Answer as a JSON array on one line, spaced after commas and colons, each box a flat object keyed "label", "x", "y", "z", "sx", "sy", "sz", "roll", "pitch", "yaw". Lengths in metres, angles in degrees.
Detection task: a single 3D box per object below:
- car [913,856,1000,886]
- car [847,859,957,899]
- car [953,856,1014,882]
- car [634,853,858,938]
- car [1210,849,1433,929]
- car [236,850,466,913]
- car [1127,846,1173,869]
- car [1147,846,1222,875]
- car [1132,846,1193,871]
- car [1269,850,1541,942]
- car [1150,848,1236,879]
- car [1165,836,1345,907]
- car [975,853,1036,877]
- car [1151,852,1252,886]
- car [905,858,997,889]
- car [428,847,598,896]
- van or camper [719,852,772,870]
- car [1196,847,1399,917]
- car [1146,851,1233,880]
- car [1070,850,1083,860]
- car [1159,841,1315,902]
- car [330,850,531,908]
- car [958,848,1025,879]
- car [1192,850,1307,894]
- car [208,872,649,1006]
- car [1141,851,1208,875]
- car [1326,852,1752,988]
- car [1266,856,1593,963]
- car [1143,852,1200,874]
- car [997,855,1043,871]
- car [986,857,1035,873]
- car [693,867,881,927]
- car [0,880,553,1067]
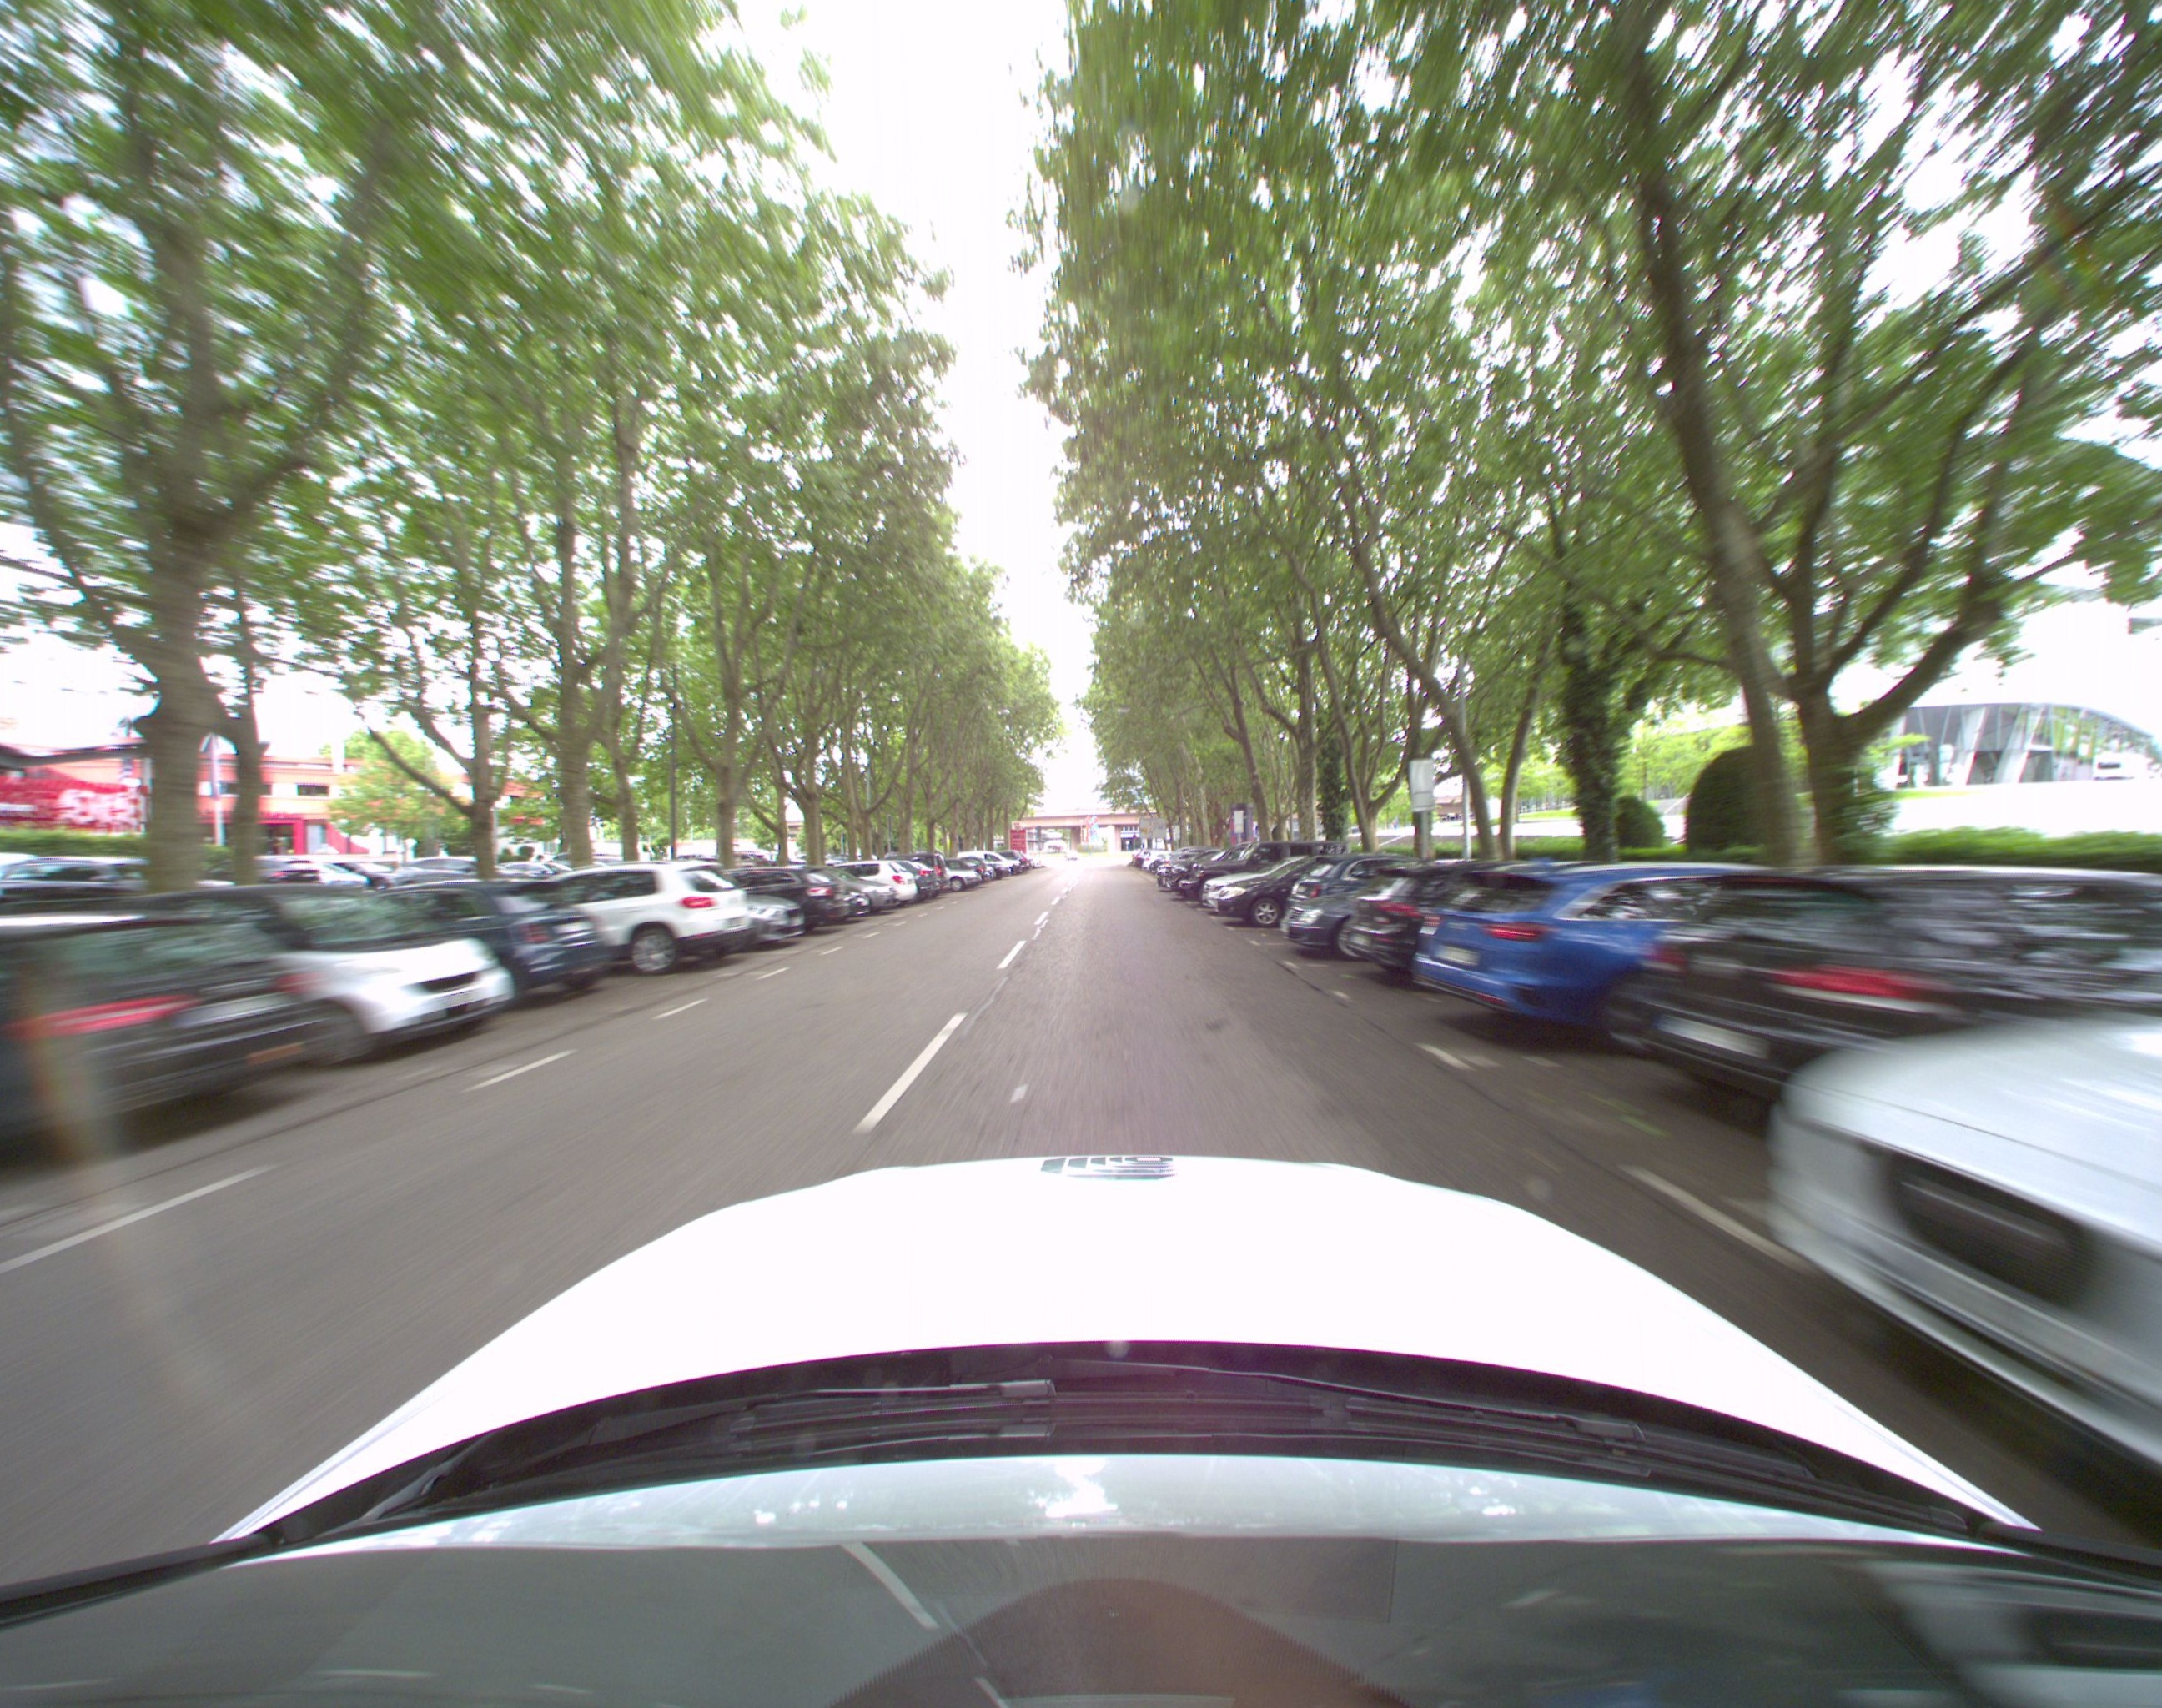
[{"label": "car", "x": -6.837, "y": 0.910, "z": 45.019, "sx": 4.448, "sy": 1.369, "sz": 1.880, "roll": -3, "pitch": 0, "yaw": 0}, {"label": "car", "x": -7.129, "y": 0.985, "z": 32.692, "sx": 3.918, "sy": 1.364, "sz": 1.827, "roll": -3, "pitch": 0, "yaw": -1}, {"label": "car", "x": -6.309, "y": 0.941, "z": 52.411, "sx": 3.782, "sy": 1.472, "sz": 1.759, "roll": -3, "pitch": 0, "yaw": -10}, {"label": "car", "x": -7.014, "y": 0.845, "z": 17.354, "sx": 3.971, "sy": 1.682, "sz": 1.857, "roll": 0, "pitch": -1, "yaw": 2}, {"label": "car", "x": 4.922, "y": 0.696, "z": 17.098, "sx": 4.181, "sy": 1.518, "sz": 1.785, "roll": 1, "pitch": 0, "yaw": 0}, {"label": "car", "x": -22.041, "y": 0.810, "z": 24.772, "sx": 4.927, "sy": 1.797, "sz": 2.182, "roll": 0, "pitch": 0, "yaw": -2}, {"label": "car", "x": 6.073, "y": 0.302, "z": 71.861, "sx": 3.972, "sy": 2.013, "sz": 2.001, "roll": 0, "pitch": 0, "yaw": 1}, {"label": "car", "x": 6.296, "y": 0.389, "z": 49.733, "sx": 4.333, "sy": 1.745, "sz": 1.836, "roll": 0, "pitch": 1, "yaw": -1}, {"label": "car", "x": 5.938, "y": 0.329, "z": 59.765, "sx": 4.332, "sy": 1.761, "sz": 1.925, "roll": 0, "pitch": 0, "yaw": -1}, {"label": "car", "x": 5.666, "y": 0.707, "z": 14.581, "sx": 4.185, "sy": 1.518, "sz": 1.784, "roll": 0, "pitch": 1, "yaw": -2}, {"label": "car", "x": 6.097, "y": 0.478, "z": 44.736, "sx": 4.572, "sy": 1.639, "sz": 1.874, "roll": 0, "pitch": 1, "yaw": 3}, {"label": "car", "x": 4.694, "y": 0.458, "z": 22.415, "sx": 4.484, "sy": 1.866, "sz": 2.046, "roll": 0, "pitch": 1, "yaw": -3}, {"label": "car", "x": -5.520, "y": 0.814, "z": 60.059, "sx": 4.112, "sy": 1.452, "sz": 2.015, "roll": -4, "pitch": 0, "yaw": 3}, {"label": "car", "x": 5.507, "y": 0.673, "z": 37.533, "sx": 4.338, "sy": 1.502, "sz": 1.922, "roll": 0, "pitch": 1, "yaw": -5}, {"label": "car", "x": -6.786, "y": 1.017, "z": 42.824, "sx": 4.445, "sy": 1.347, "sz": 1.903, "roll": -3, "pitch": 0, "yaw": 2}, {"label": "car", "x": -21.712, "y": 0.647, "z": 31.318, "sx": 4.927, "sy": 1.797, "sz": 2.182, "roll": 0, "pitch": 0, "yaw": -2}, {"label": "van or camper", "x": -32.932, "y": 0.694, "z": 80.029, "sx": 4.306, "sy": 1.709, "sz": 2.132, "roll": 0, "pitch": 0, "yaw": 0}, {"label": "car", "x": 5.120, "y": 0.633, "z": 19.777, "sx": 4.475, "sy": 1.572, "sz": 2.050, "roll": 0, "pitch": 1, "yaw": 4}, {"label": "car", "x": 5.580, "y": 0.579, "z": 42.337, "sx": 4.330, "sy": 1.413, "sz": 1.926, "roll": 0, "pitch": 1, "yaw": 1}, {"label": "car", "x": -0.690, "y": 0.185, "z": 125.866, "sx": 1.836, "sy": 1.510, "sz": 4.014, "roll": 0, "pitch": 0, "yaw": 0}, {"label": "car", "x": 4.721, "y": 0.496, "z": 25.161, "sx": 4.480, "sy": 1.796, "sz": 2.048, "roll": 0, "pitch": 1, "yaw": 0}, {"label": "car", "x": -21.845, "y": 0.797, "z": 27.539, "sx": 4.927, "sy": 1.797, "sz": 2.182, "roll": -1, "pitch": 0, "yaw": -2}, {"label": "car", "x": -6.017, "y": 0.616, "z": 55.108, "sx": 4.307, "sy": 1.810, "sz": 1.866, "roll": -3, "pitch": 0, "yaw": -3}, {"label": "car", "x": 7.259, "y": 0.750, "z": 35.314, "sx": 4.488, "sy": 1.796, "sz": 2.044, "roll": 0, "pitch": 1, "yaw": -5}, {"label": "car", "x": -7.845, "y": 0.979, "z": 10.084, "sx": 3.971, "sy": 1.453, "sz": 1.857, "roll": 0, "pitch": 0, "yaw": 2}, {"label": "car", "x": 5.963, "y": 0.557, "z": 52.222, "sx": 4.133, "sy": 1.458, "sz": 1.728, "roll": 0, "pitch": 0, "yaw": 1}, {"label": "car", "x": 5.306, "y": 0.716, "z": 9.808, "sx": 4.185, "sy": 1.456, "sz": 1.784, "roll": 0, "pitch": 1, "yaw": -2}, {"label": "car", "x": 5.070, "y": 0.769, "z": 12.223, "sx": 4.185, "sy": 1.456, "sz": 1.784, "roll": 0, "pitch": 1, "yaw": -2}, {"label": "car", "x": 6.035, "y": 0.602, "z": 54.737, "sx": 3.630, "sy": 1.427, "sz": 1.664, "roll": 0, "pitch": 1, "yaw": -2}, {"label": "car", "x": -5.636, "y": 0.823, "z": 75.263, "sx": 3.975, "sy": 1.385, "sz": 1.914, "roll": -1, "pitch": 0, "yaw": 4}, {"label": "car", "x": -6.082, "y": 0.938, "z": 70.337, "sx": 3.973, "sy": 1.405, "sz": 1.862, "roll": 0, "pitch": 0, "yaw": 1}, {"label": "car", "x": -7.164, "y": 1.025, "z": 20.145, "sx": 3.974, "sy": 1.369, "sz": 1.843, "roll": 0, "pitch": 0, "yaw": -1}, {"label": "car", "x": -7.478, "y": 1.004, "z": 7.530, "sx": 3.971, "sy": 1.453, "sz": 1.857, "roll": 0, "pitch": 0, "yaw": 2}]
